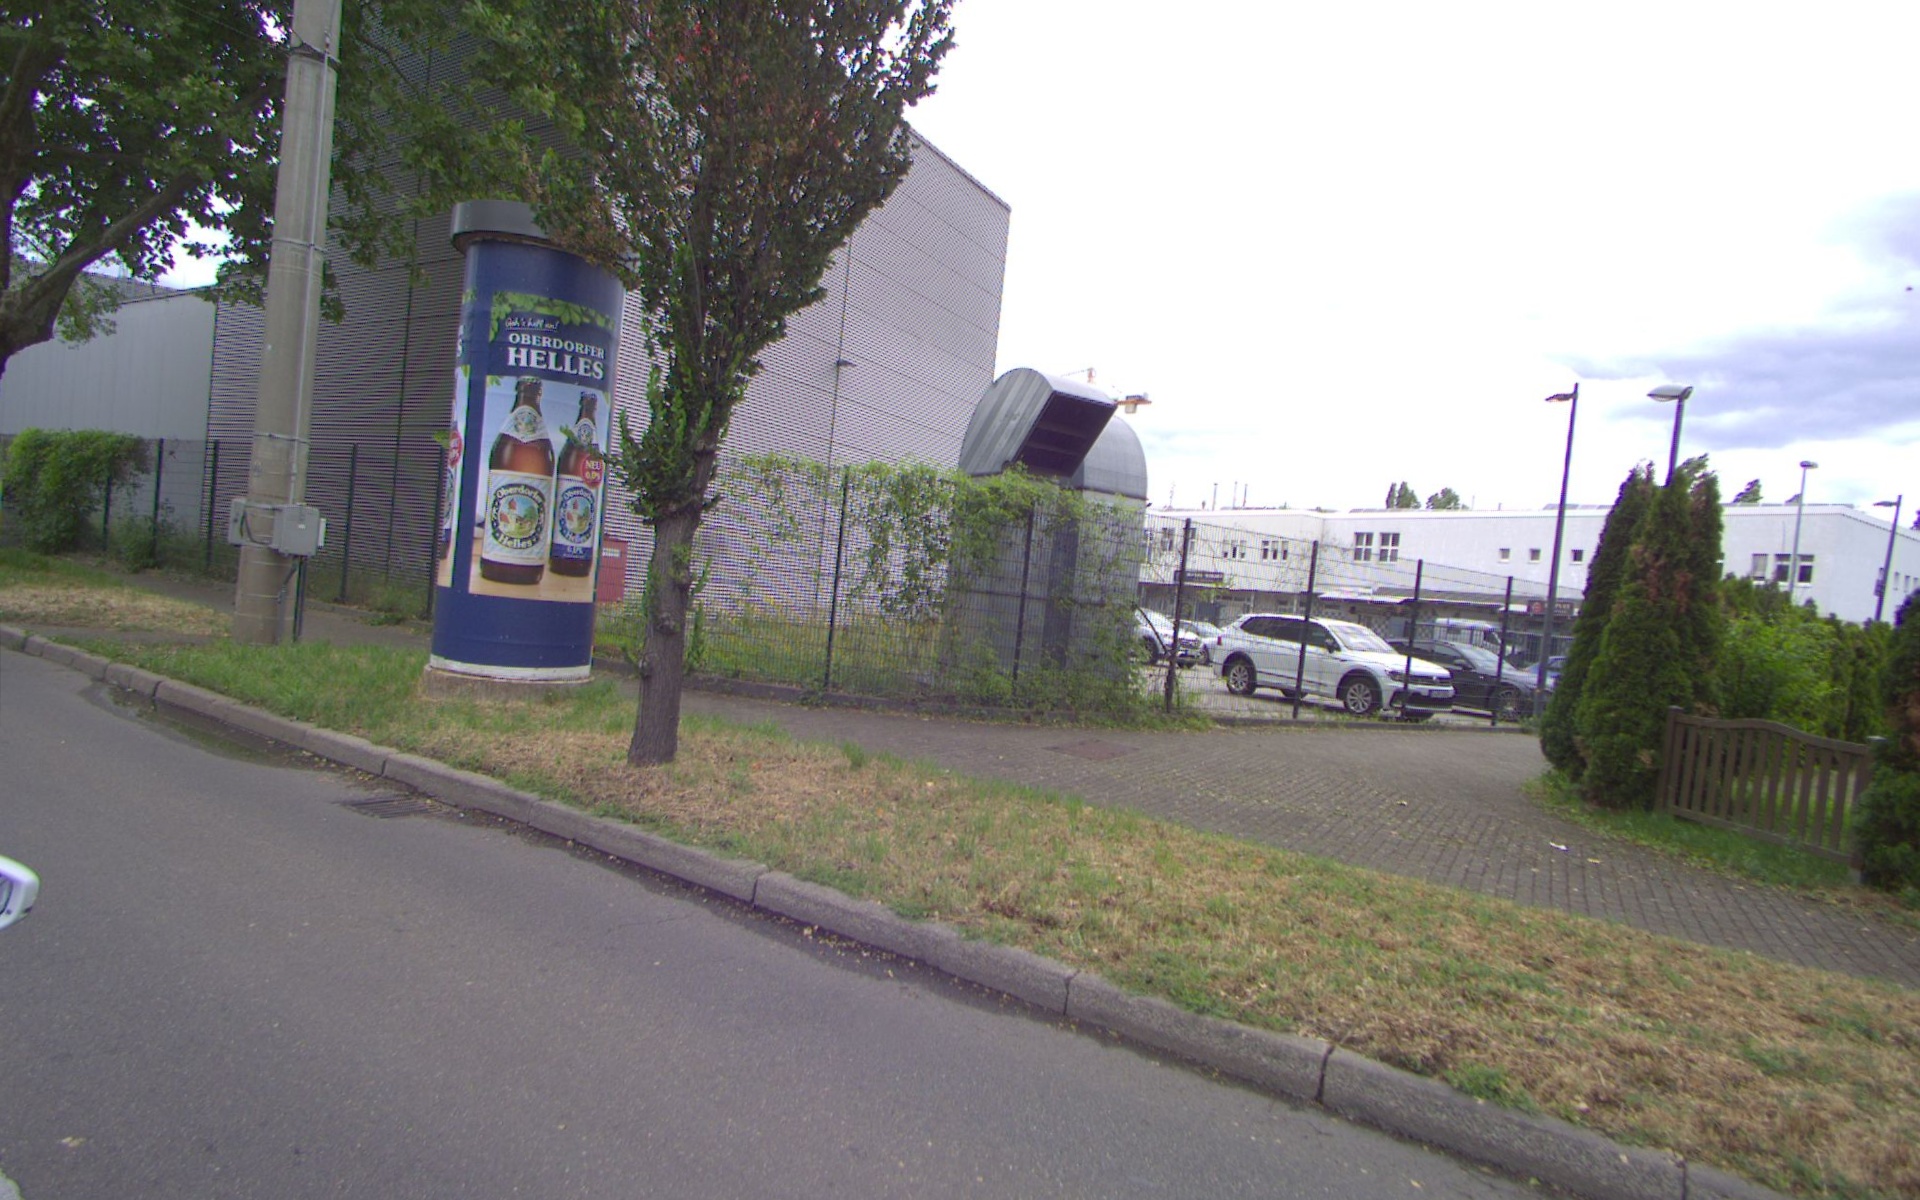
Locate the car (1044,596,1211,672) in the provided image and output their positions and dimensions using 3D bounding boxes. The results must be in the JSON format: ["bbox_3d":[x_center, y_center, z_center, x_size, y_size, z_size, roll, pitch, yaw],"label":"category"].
[{"bbox_3d":[4.853,0.963,29.583,4.418,1.687,1.999,6,1,-1],"label":"car"}]

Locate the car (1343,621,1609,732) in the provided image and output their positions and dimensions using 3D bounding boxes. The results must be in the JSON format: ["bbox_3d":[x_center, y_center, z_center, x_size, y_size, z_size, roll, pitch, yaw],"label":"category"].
[{"bbox_3d":[10.617,1.530,21.052,1.979,1.686,4.464,6,1,-31],"label":"car"}]

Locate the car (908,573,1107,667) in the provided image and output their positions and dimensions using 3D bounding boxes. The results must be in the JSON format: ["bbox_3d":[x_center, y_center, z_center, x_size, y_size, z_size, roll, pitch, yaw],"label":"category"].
[{"bbox_3d":[1.125,0.471,24.225,4.197,1.668,1.999,6,-2,29],"label":"car"}]

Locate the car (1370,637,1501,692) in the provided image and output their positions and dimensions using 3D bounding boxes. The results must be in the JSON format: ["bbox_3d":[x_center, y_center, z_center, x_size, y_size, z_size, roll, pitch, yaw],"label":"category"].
[{"bbox_3d":[19.108,2.567,40.569,1.982,1.668,4.233,8,-2,-34],"label":"car"}]

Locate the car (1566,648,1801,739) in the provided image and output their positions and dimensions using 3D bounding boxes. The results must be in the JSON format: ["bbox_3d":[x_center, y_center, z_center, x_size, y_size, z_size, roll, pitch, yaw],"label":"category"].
[{"bbox_3d":[18.755,2.381,26.311,1.979,1.686,4.464,6,1,-31],"label":"car"}]

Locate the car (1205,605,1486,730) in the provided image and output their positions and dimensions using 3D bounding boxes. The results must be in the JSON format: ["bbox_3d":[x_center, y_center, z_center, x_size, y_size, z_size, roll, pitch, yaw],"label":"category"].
[{"bbox_3d":[6.952,1.166,18.647,1.979,1.686,4.464,6,1,-31],"label":"car"}]

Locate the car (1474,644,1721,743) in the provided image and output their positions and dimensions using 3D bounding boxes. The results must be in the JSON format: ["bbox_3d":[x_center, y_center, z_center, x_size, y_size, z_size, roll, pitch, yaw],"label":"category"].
[{"bbox_3d":[15.086,2.171,24.089,1.979,1.686,4.464,6,1,-31],"label":"car"}]

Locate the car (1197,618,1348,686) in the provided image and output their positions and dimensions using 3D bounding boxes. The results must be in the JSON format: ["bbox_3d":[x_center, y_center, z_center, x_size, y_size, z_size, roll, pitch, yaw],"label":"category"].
[{"bbox_3d":[10.033,1.652,32.583,1.982,1.668,4.233,8,-2,-34],"label":"car"}]
